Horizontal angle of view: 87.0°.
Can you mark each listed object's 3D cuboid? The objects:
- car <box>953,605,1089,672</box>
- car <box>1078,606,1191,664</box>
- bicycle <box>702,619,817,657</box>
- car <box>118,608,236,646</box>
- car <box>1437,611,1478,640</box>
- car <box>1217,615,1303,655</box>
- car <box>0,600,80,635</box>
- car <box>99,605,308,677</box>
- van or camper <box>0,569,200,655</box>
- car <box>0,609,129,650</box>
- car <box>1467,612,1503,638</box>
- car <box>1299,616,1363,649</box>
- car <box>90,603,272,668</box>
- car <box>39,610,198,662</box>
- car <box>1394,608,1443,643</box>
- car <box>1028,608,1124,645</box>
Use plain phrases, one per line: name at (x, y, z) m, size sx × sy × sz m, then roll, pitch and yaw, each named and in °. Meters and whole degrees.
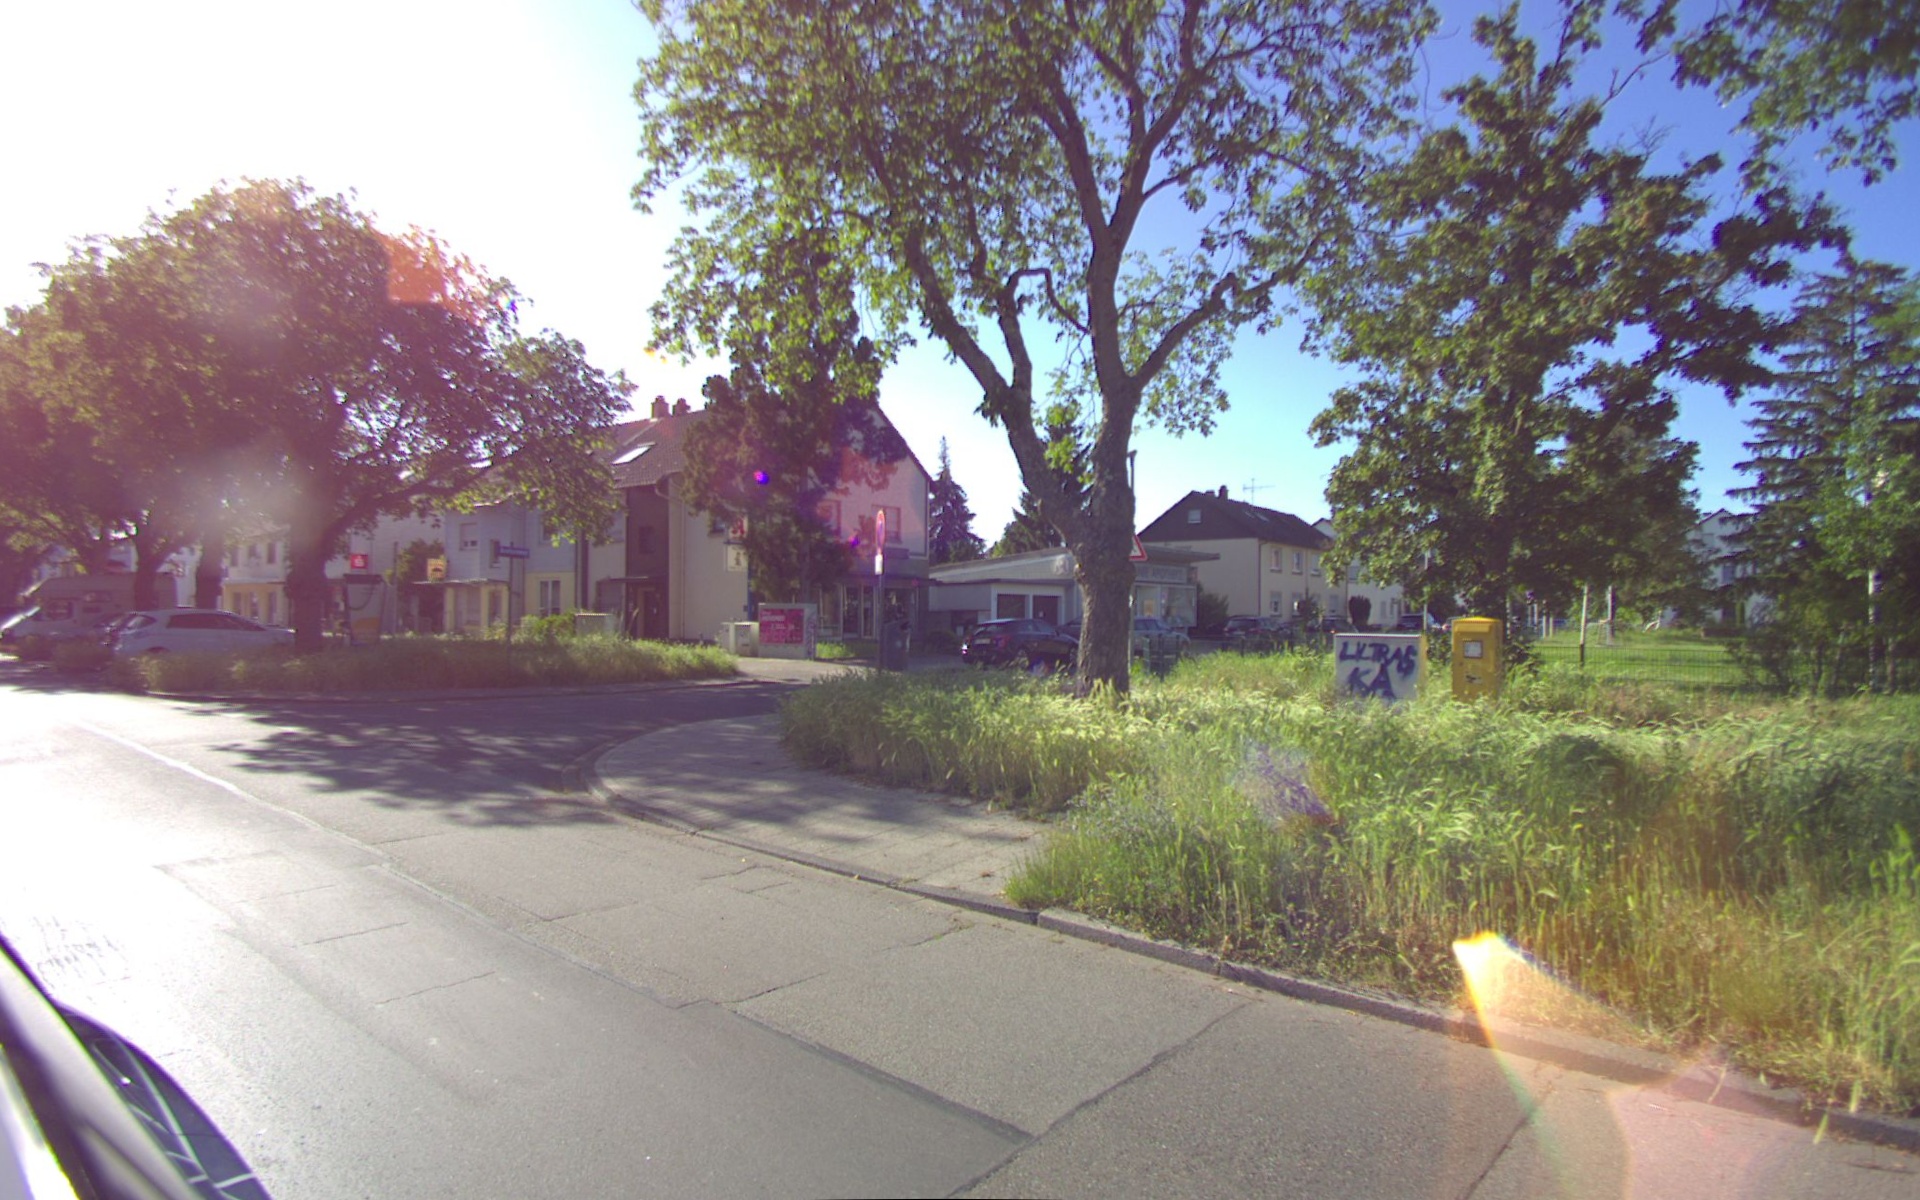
car at (1.775, 1.019, 28.411) m, size 1.821 × 1.727 × 3.946 m, roll -1°, pitch -1°, yaw 41°
car at (5.898, 1.116, 33.916) m, size 1.999 × 1.834 × 3.946 m, roll -1°, pitch -1°, yaw 41°
bicycle at (-6.534, 1.219, 32.754) m, size 4.033 × 1.185 × 0.700 m, roll -1°, pitch -1°, yaw 25°
car at (-35.841, 1.208, 46.398) m, size 1.866 × 1.554 × 3.952 m, roll 0°, pitch 1°, yaw 36°
car at (36.674, 1.868, 74.573) m, size 1.996 × 2.029 × 3.950 m, roll -1°, pitch -1°, yaw 37°
car at (12.508, 1.413, 42.034) m, size 1.999 × 1.551 × 3.945 m, roll -1°, pitch -1°, yaw 41°
car at (-51.749, 0.980, 55.460) m, size 1.997 × 1.740 × 5.015 m, roll 0°, pitch 3°, yaw 37°
car at (-19.221, 0.983, 25.837) m, size 1.965 × 1.673 × 3.947 m, roll -1°, pitch -1°, yaw 40°
van or camper at (-31.626, 0.349, 37.069) m, size 2.000 × 2.826 × 5.714 m, roll 0°, pitch 3°, yaw 43°
car at (-36.773, 1.178, 41.531) m, size 1.640 × 1.460 × 3.942 m, roll 0°, pitch 2°, yaw 44°
car at (42.327, 2.010, 81.524) m, size 1.996 × 2.029 × 3.950 m, roll -1°, pitch -1°, yaw 37°
car at (18.119, 1.567, 49.368) m, size 1.818 × 1.551 × 3.818 m, roll -1°, pitch -1°, yaw 39°
car at (-23.286, 1.003, 30.342) m, size 1.998 × 1.601 × 3.947 m, roll 0°, pitch 3°, yaw 40°
car at (-29.320, 1.195, 35.338) m, size 1.998 × 1.469 × 3.948 m, roll 0°, pitch 3°, yaw 39°
car at (29.118, 1.590, 64.239) m, size 1.997 × 1.962 × 3.950 m, roll 0°, pitch 3°, yaw 38°
car at (4.952, 1.104, 43.381) m, size 3.755 × 1.530 × 1.781 m, roll 0°, pitch -1°, yaw 38°
